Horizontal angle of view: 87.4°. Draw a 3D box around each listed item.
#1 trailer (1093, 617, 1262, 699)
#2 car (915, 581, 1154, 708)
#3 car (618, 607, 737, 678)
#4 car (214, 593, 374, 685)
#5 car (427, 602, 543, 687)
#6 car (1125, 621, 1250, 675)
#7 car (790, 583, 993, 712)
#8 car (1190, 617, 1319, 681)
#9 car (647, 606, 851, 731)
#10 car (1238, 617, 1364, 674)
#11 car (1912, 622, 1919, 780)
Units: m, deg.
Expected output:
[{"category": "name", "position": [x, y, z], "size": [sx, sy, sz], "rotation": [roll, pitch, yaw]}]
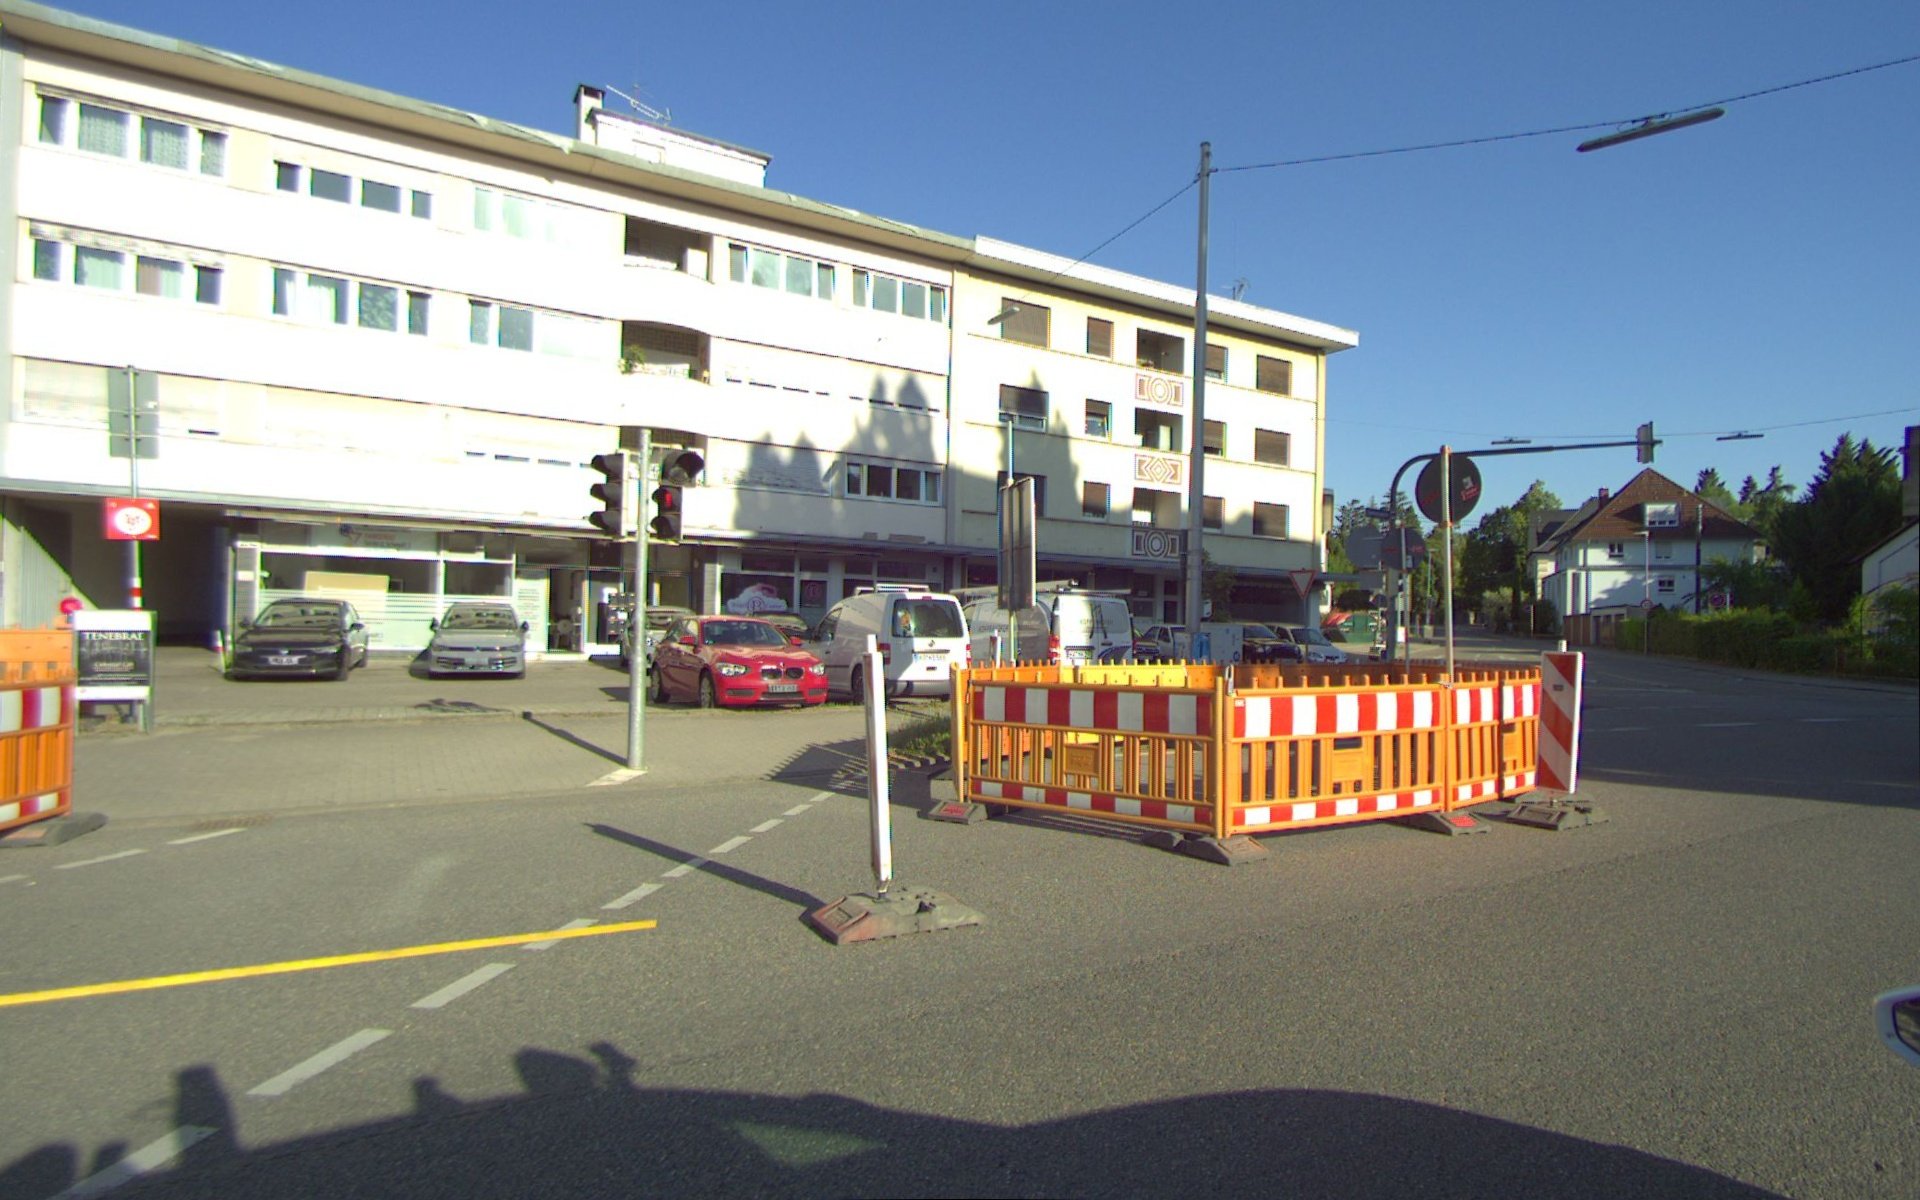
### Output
[{"category": "trailer", "position": [4.311, 1.109, 20.284], "size": [1.556, 1.415, 3.238], "rotation": [1, 0, -30]}, {"category": "car", "position": [1.176, 0.679, 18.313], "size": [2.092, 1.991, 4.645], "rotation": [1, 0, -30]}, {"category": "car", "position": [-6.710, 0.926, 23.554], "size": [1.973, 1.417, 4.299], "rotation": [1, 0, -26]}, {"category": "car", "position": [-12.699, 0.676, 19.450], "size": [1.973, 1.532, 4.299], "rotation": [1, 0, -26]}, {"category": "car", "position": [-10.005, 0.852, 21.200], "size": [1.973, 1.530, 4.299], "rotation": [1, 0, -26]}, {"category": "car", "position": [6.887, 1.428, 30.902], "size": [1.966, 1.417, 4.314], "rotation": [1, 0, -14]}, {"category": "car", "position": [-1.309, 0.678, 16.903], "size": [1.973, 1.876, 4.300], "rotation": [1, 0, -25]}, {"category": "car", "position": [9.229, 1.498, 31.876], "size": [1.966, 1.738, 4.315], "rotation": [1, 0, -14]}, {"category": "car", "position": [-3.395, 0.936, 15.522], "size": [1.976, 1.499, 3.972], "rotation": [1, 1, -29]}, {"category": "car", "position": [11.302, 1.473, 33.647], "size": [1.966, 1.632, 4.315], "rotation": [1, 0, -14]}, {"category": "car", "position": [11.581, 1.050, 10.481], "size": [3.963, 1.563, 1.762], "rotation": [1, 0, -37]}]
